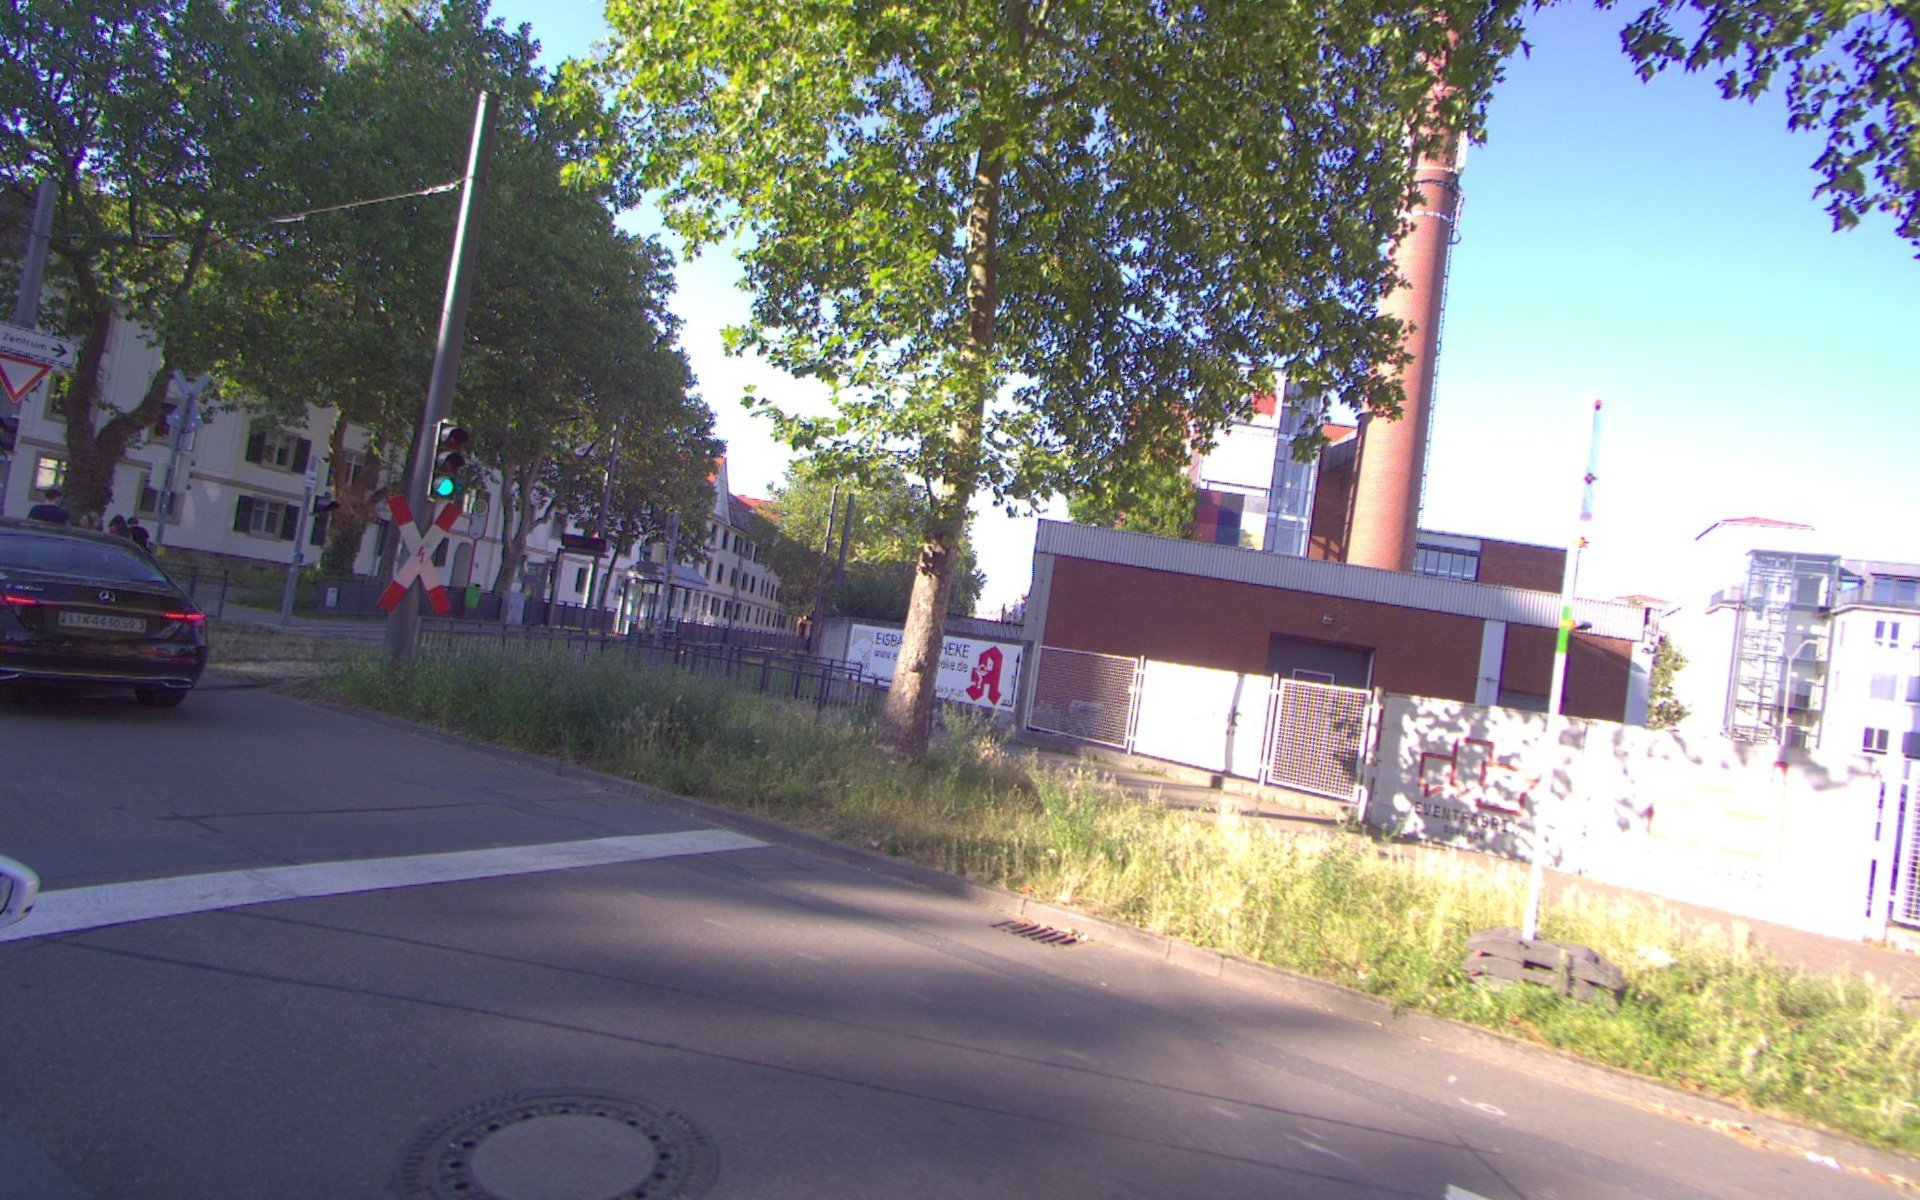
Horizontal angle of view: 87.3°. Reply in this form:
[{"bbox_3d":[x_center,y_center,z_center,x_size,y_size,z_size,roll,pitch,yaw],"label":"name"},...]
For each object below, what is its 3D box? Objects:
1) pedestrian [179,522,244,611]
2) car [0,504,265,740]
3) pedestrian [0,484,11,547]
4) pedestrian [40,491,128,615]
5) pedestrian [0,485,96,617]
[{"bbox_3d":[-17.596,-0.796,23.655,0.825,1.938,0.707,6,-3,30],"label":"pedestrian"},{"bbox_3d":[-8.224,0.008,8.769,4.309,1.506,1.895,9,-3,33],"label":"car"},{"bbox_3d":[-21.611,-1.636,22.075,0.825,1.938,0.707,6,-3,30],"label":"pedestrian"},{"bbox_3d":[-14.737,-0.789,16.937,0.695,1.938,0.685,6,-3,30],"label":"pedestrian"},{"bbox_3d":[-14.462,-0.768,15.943,0.672,1.938,0.708,7,-3,24],"label":"pedestrian"}]
